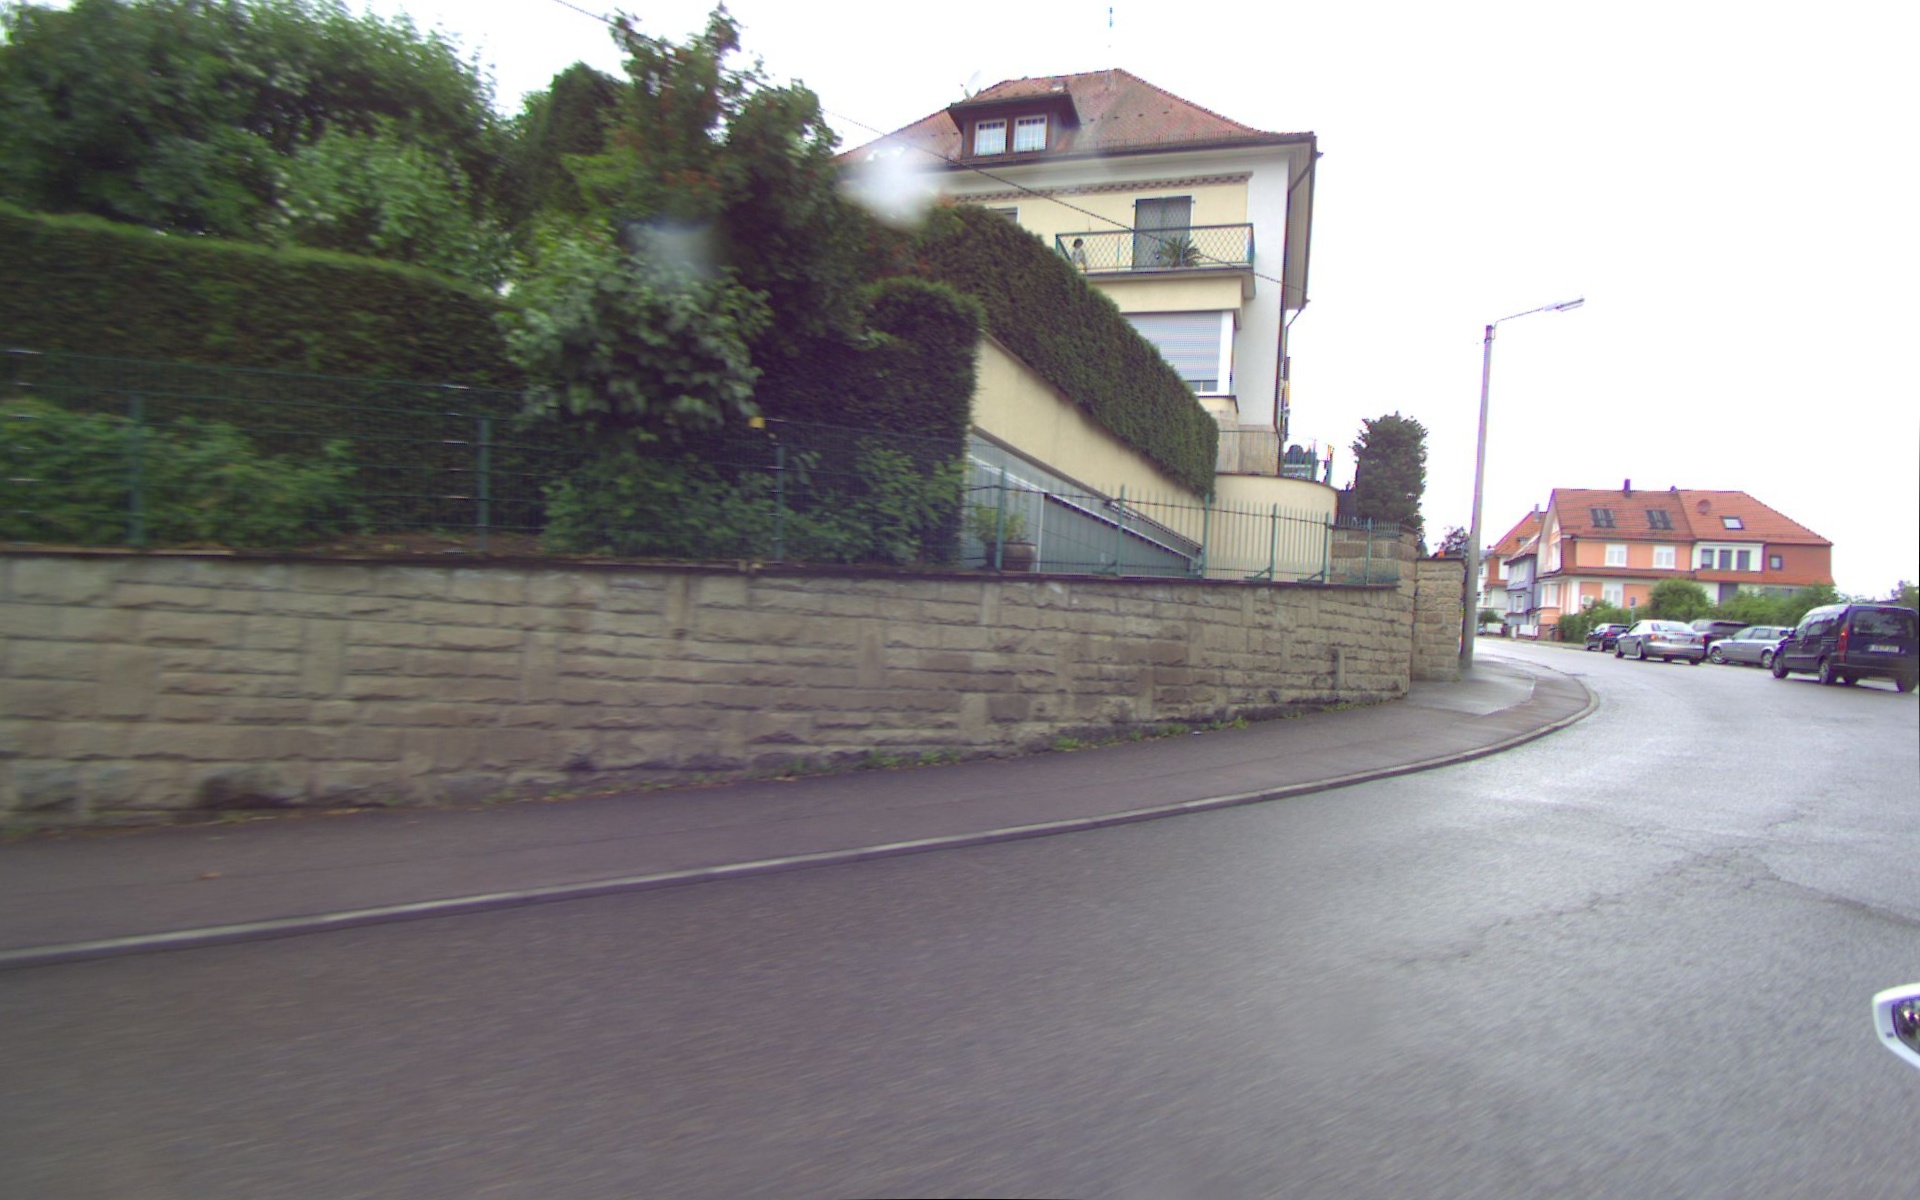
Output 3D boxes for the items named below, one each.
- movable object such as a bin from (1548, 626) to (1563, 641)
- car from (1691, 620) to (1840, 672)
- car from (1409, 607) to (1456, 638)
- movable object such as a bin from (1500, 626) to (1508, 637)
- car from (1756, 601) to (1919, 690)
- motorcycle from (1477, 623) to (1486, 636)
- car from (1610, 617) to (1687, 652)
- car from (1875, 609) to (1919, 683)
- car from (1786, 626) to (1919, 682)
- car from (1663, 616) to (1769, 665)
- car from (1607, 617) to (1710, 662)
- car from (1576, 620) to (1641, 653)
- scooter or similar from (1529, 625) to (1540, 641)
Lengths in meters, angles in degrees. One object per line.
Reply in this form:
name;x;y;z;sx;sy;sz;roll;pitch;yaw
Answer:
movable object such as a bin;43.416;2.422;73.222;0.562;0.981;0.668;5;1;-13
car;28.370;1.572;35.608;1.769;1.459;4.644;4;1;5
car;26.424;1.235;56.324;1.866;1.588;4.238;2;0;19
movable object such as a bin;50.569;2.944;93.396;0.540;0.948;0.634;1;0;19
car;20.594;1.029;23.588;1.794;1.907;4.095;0;-1;21
motorcycle;53.352;2.968;102.735;0.572;1.278;2.331;2;0;22
car;32.446;1.604;47.478;1.685;1.424;4.608;4;1;18
car;24.639;1.192;24.185;1.993;1.806;4.899;3;1;19
car;26.294;1.527;29.627;1.660;1.441;3.983;3;0;20
car;30.198;1.550;40.281;1.856;1.684;4.549;5;1;17
car;24.231;1.387;35.007;1.823;1.477;4.097;0;-3;18
car;33.994;1.881;52.761;1.725;1.550;4.207;4;0;18
scooter or similar;46.980;2.670;82.162;0.682;1.240;1.298;4;1;27
